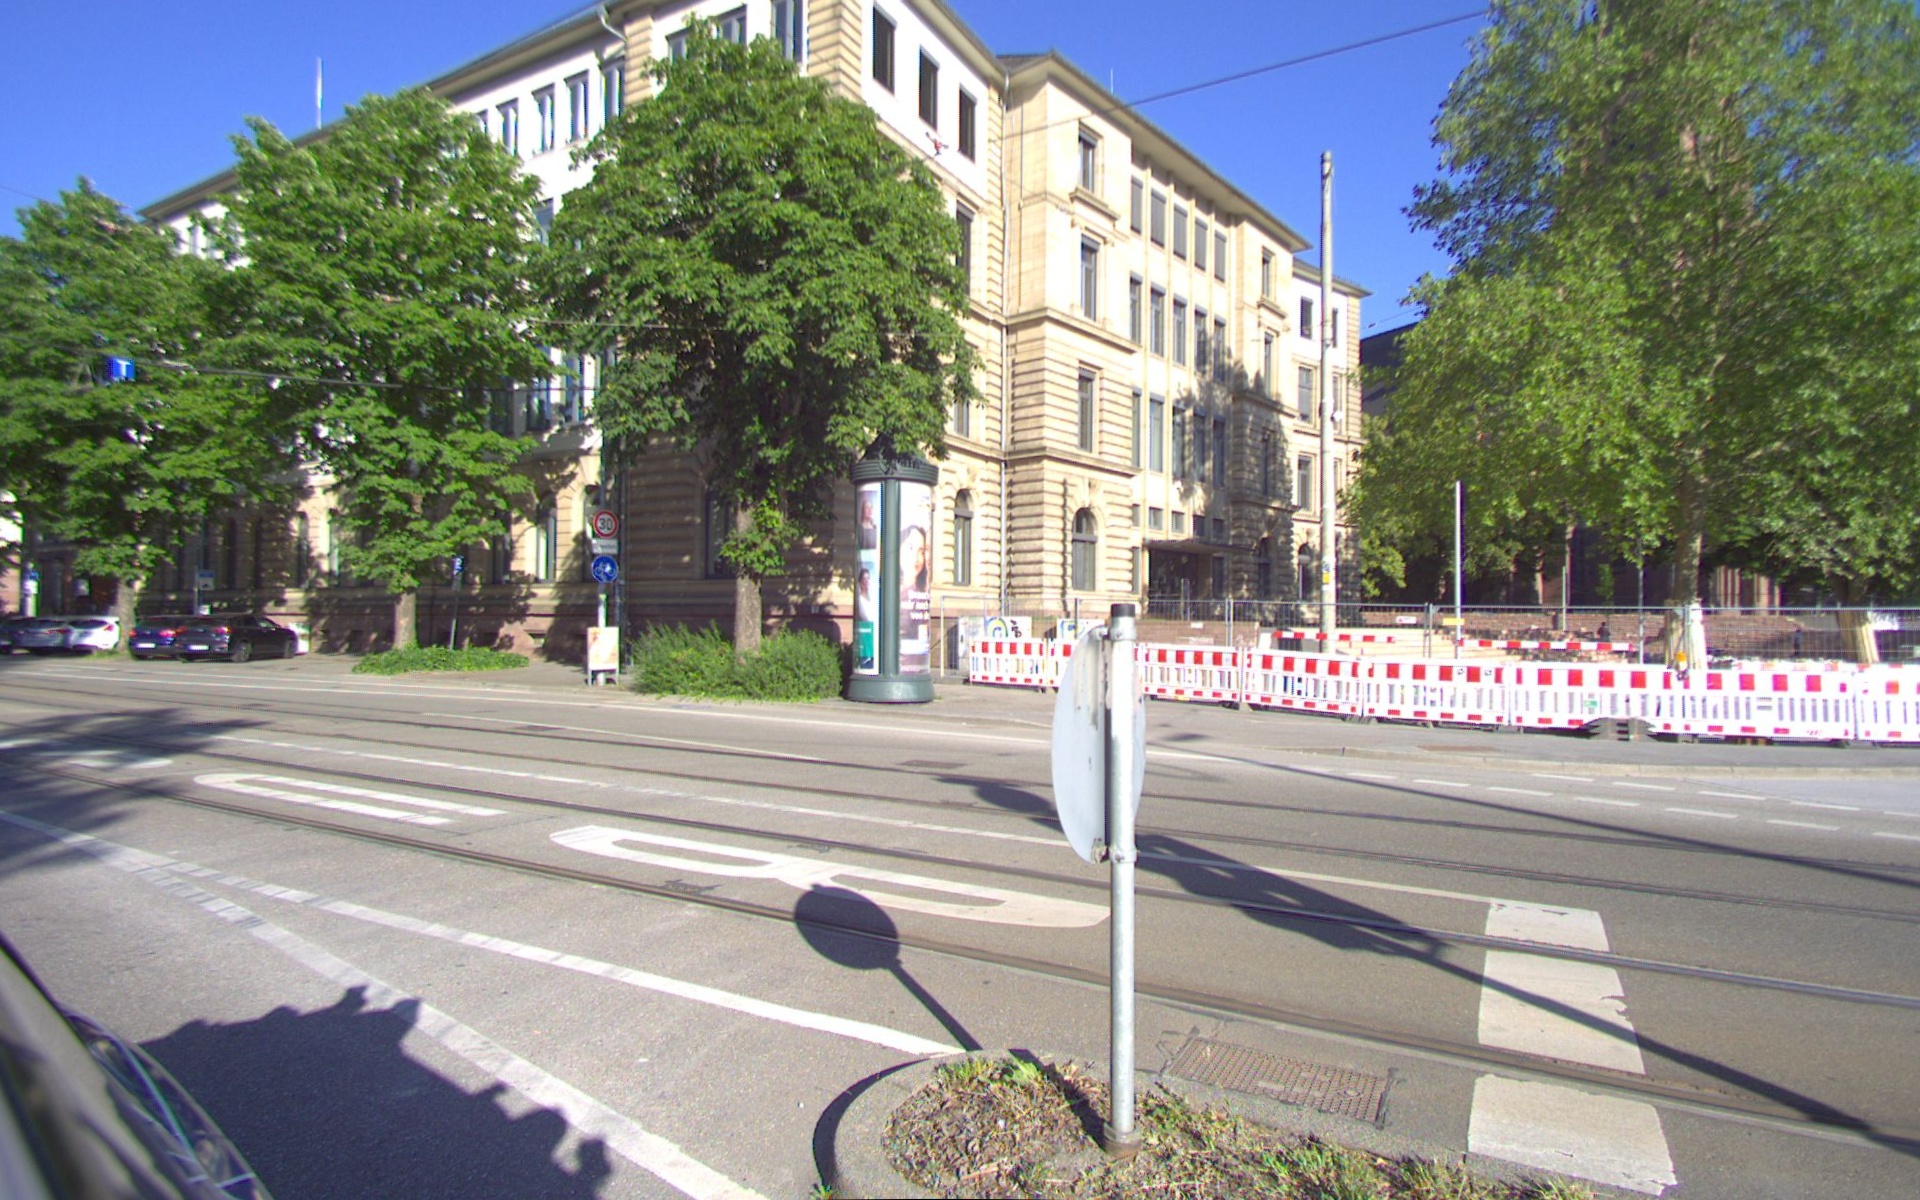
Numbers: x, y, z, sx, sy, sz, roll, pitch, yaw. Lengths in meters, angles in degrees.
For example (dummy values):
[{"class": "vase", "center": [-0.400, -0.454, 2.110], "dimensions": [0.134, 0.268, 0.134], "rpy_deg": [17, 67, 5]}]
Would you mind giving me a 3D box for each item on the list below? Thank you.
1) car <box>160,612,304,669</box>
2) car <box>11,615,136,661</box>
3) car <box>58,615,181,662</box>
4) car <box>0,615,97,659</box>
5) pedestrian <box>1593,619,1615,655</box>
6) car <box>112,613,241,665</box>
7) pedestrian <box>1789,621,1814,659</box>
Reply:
[{"class": "car", "center": [-23.614, 1.262, 33.035], "dimensions": [1.819, 1.643, 4.184], "rpy_deg": [-1, 0, -3]}, {"class": "car", "center": [-33.227, 1.393, 38.064], "dimensions": [1.626, 1.572, 3.652], "rpy_deg": [-1, 0, -3]}, {"class": "car", "center": [-30.914, 1.375, 37.354], "dimensions": [1.626, 1.572, 3.652], "rpy_deg": [-1, 0, -3]}, {"class": "car", "center": [-36.243, 1.416, 39.773], "dimensions": [1.626, 1.572, 3.652], "rpy_deg": [-1, 0, -3]}, {"class": "pedestrian", "center": [30.427, 1.729, 47.792], "dimensions": [0.627, 1.660, 0.677], "rpy_deg": [1, -2, -37]}, {"class": "car", "center": [-26.243, 1.272, 34.037], "dimensions": [1.626, 1.572, 3.652], "rpy_deg": [-1, 0, -3]}, {"class": "pedestrian", "center": [36.651, 1.729, 44.082], "dimensions": [0.666, 1.660, 0.762], "rpy_deg": [1, -2, -45]}]
